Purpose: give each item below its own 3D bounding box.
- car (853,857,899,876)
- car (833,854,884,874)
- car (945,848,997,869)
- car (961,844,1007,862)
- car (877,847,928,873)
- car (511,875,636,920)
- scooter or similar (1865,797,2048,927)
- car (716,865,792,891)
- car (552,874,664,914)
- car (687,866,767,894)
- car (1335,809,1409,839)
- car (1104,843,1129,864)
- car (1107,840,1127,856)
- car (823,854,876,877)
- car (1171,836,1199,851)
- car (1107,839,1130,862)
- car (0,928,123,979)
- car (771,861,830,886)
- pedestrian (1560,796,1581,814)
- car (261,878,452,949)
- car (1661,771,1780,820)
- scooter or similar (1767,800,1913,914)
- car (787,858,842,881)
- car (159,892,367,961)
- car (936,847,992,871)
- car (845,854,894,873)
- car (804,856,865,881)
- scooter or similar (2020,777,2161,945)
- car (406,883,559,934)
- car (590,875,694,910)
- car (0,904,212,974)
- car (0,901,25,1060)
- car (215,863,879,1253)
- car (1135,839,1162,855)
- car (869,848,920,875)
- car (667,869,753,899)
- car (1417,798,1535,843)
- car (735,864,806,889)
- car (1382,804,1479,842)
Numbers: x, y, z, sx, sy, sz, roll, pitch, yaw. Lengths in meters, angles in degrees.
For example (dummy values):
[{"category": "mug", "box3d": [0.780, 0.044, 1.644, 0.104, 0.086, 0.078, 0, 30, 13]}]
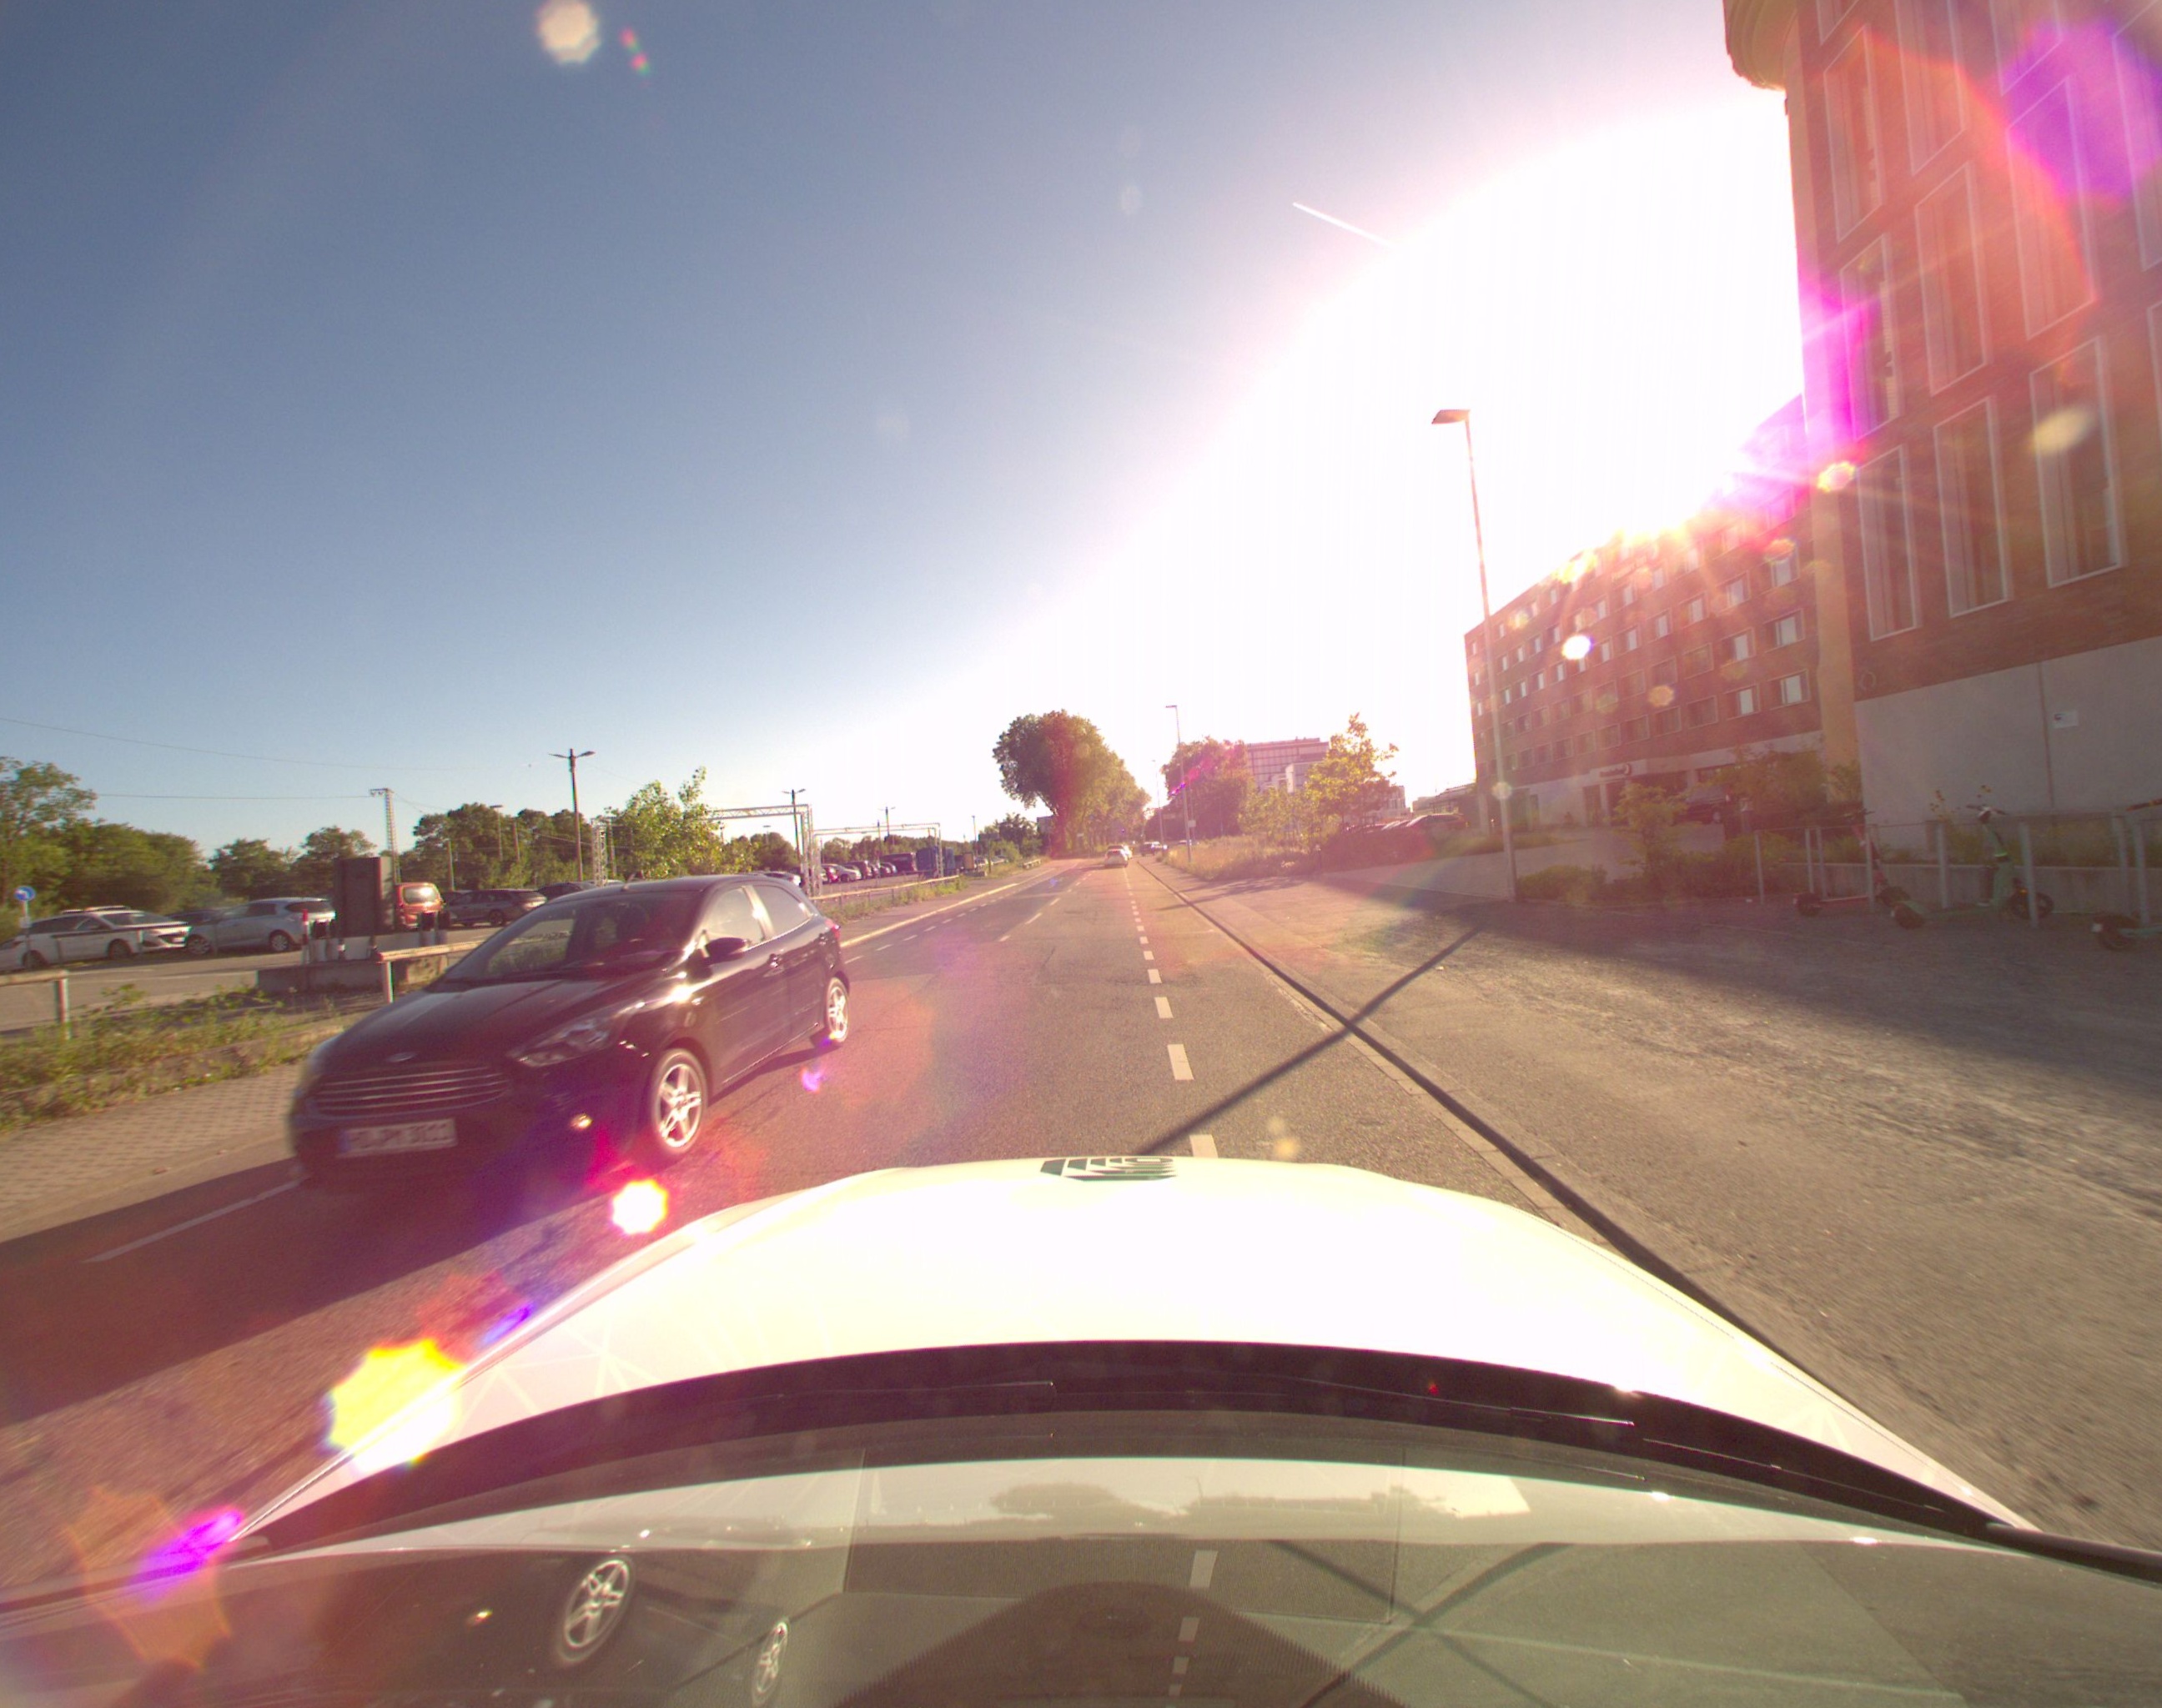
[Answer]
[{"category": "car", "box3d": [-21.387, 1.305, 85.042, 4.192, 1.617, 1.879, -4, 1, 1]}, {"category": "car", "box3d": [-21.841, 0.988, 79.944, 4.306, 1.617, 1.879, -4, 1, 1]}, {"category": "car", "box3d": [-10.672, 0.426, 79.391, 4.577, 1.557, 2.001, -4, 1, 1]}, {"category": "car", "box3d": [-10.421, -0.080, 87.610, 4.525, 1.557, 1.879, -4, 1, 1]}, {"category": "car", "box3d": [-20.271, 0.665, 92.725, 5.077, 2.459, 2.321, -4, 1, 1]}, {"category": "car", "box3d": [-23.460, 2.003, 37.753, 4.557, 1.585, 1.859, -4, 1, 3]}, {"category": "scooter or similar", "box3d": [8.703, 0.075, 8.120, 1.236, 1.155, 0.366, -6, 1, 6]}, {"category": "car", "box3d": [-22.448, 1.614, 56.028, 4.306, 1.376, 1.879, -4, 1, 1]}, {"category": "car", "box3d": [-23.264, 1.950, 40.157, 4.304, 1.523, 1.880, -4, 1, 3]}, {"category": "car", "box3d": [-23.250, 1.712, 53.549, 4.306, 1.419, 1.879, -4, 1, 1]}, {"category": "car", "box3d": [18.996, -1.950, 53.278, 4.163, 1.580, 1.855, -4, 1, 6]}, {"category": "car", "box3d": [2.808, -0.082, 64.136, 1.782, 1.420, 4.005, -4, 1, 4]}, {"category": "car", "box3d": [3.803, -0.659, 86.329, 1.891, 1.595, 4.003, -5, 1, 2]}, {"category": "car", "box3d": [-21.943, 1.056, 77.211, 4.306, 1.791, 1.879, -4, 1, 1]}, {"category": "car", "box3d": [13.240, -1.373, 103.523, 2.143, 1.684, 4.025, -4, 0, 27]}, {"category": "car", "box3d": [3.299, -0.349, 70.473, 1.811, 1.768, 4.634, -4, 1, 3]}, {"category": "car", "box3d": [-39.679, 3.864, 31.305, 3.594, 1.481, 1.727, -6, 1, 1]}, {"category": "car", "box3d": [-22.120, 1.505, 64.246, 3.868, 1.603, 1.879, -4, 1, 1]}, {"category": "pedestrian", "box3d": [37.461, -3.729, 62.340, 0.925, 1.310, 1.011, -4, 1, 3]}, {"category": "car", "box3d": [-23.778, 1.927, 26.843, 4.557, 1.805, 1.859, -4, 1, 3]}, {"category": "car", "box3d": [29.896, -2.663, 38.284, 1.963, 1.935, 4.799, -4, 1, 4]}, {"category": "scooter or similar", "box3d": [8.916, 0.035, 9.589, 1.236, 1.194, 0.341, -6, 1, 6]}, {"category": "car", "box3d": [-22.455, 1.296, 68.661, 3.868, 1.519, 1.879, -4, 1, 1]}, {"category": "car", "box3d": [-24.486, 2.147, 24.487, 4.349, 1.545, 1.859, -4, 1, 3]}, {"category": "car", "box3d": [-10.940, 0.420, 76.419, 4.827, 1.834, 2.001, -4, 1, 1]}, {"category": "car", "box3d": [-21.373, 0.958, 82.458, 4.306, 1.617, 1.879, -4, 1, 1]}, {"category": "car", "box3d": [-21.635, 1.242, 71.495, 4.557, 1.740, 2.062, -4, 1, 6]}, {"category": "scooter or similar", "box3d": [8.580, 0.030, 6.564, 1.333, 1.245, 0.424, -6, 1, 6]}, {"category": "car", "box3d": [-23.516, 2.127, 32.096, 4.554, 1.480, 1.994, -4, 1, 5]}, {"category": "car", "box3d": [-22.989, 1.991, 42.742, 4.304, 1.393, 1.880, -4, 1, 3]}, {"category": "car", "box3d": [-29.252, 2.515, 24.441, 4.349, 1.545, 1.859, -4, 1, 3]}, {"category": "car", "box3d": [-13.709, 1.551, 7.866, 4.409, 1.670, 2.051, -5, 1, 3]}, {"category": "car", "box3d": [-2.867, 0.926, 5.598, 1.647, 1.503, 4.003, -6, 0, 2]}, {"category": "car", "box3d": [8.016, -0.879, 96.289, 2.146, 1.683, 4.018, -4, 0, 17]}, {"category": "car", "box3d": [-20.613, 0.815, 90.064, 4.908, 2.459, 2.321, -4, 1, 1]}, {"category": "car", "box3d": [-23.033, 1.843, 50.663, 4.306, 1.419, 1.879, -4, 1, 1]}, {"category": "car", "box3d": [17.014, -1.426, 35.267, 4.163, 1.580, 1.855, -4, 1, 6]}, {"category": "car", "box3d": [-22.397, 1.615, 58.826, 4.306, 1.376, 1.879, -4, 1, 1]}, {"category": "car", "box3d": [18.014, -1.598, 42.121, 4.163, 1.580, 1.855, -5, 0, 6]}]
